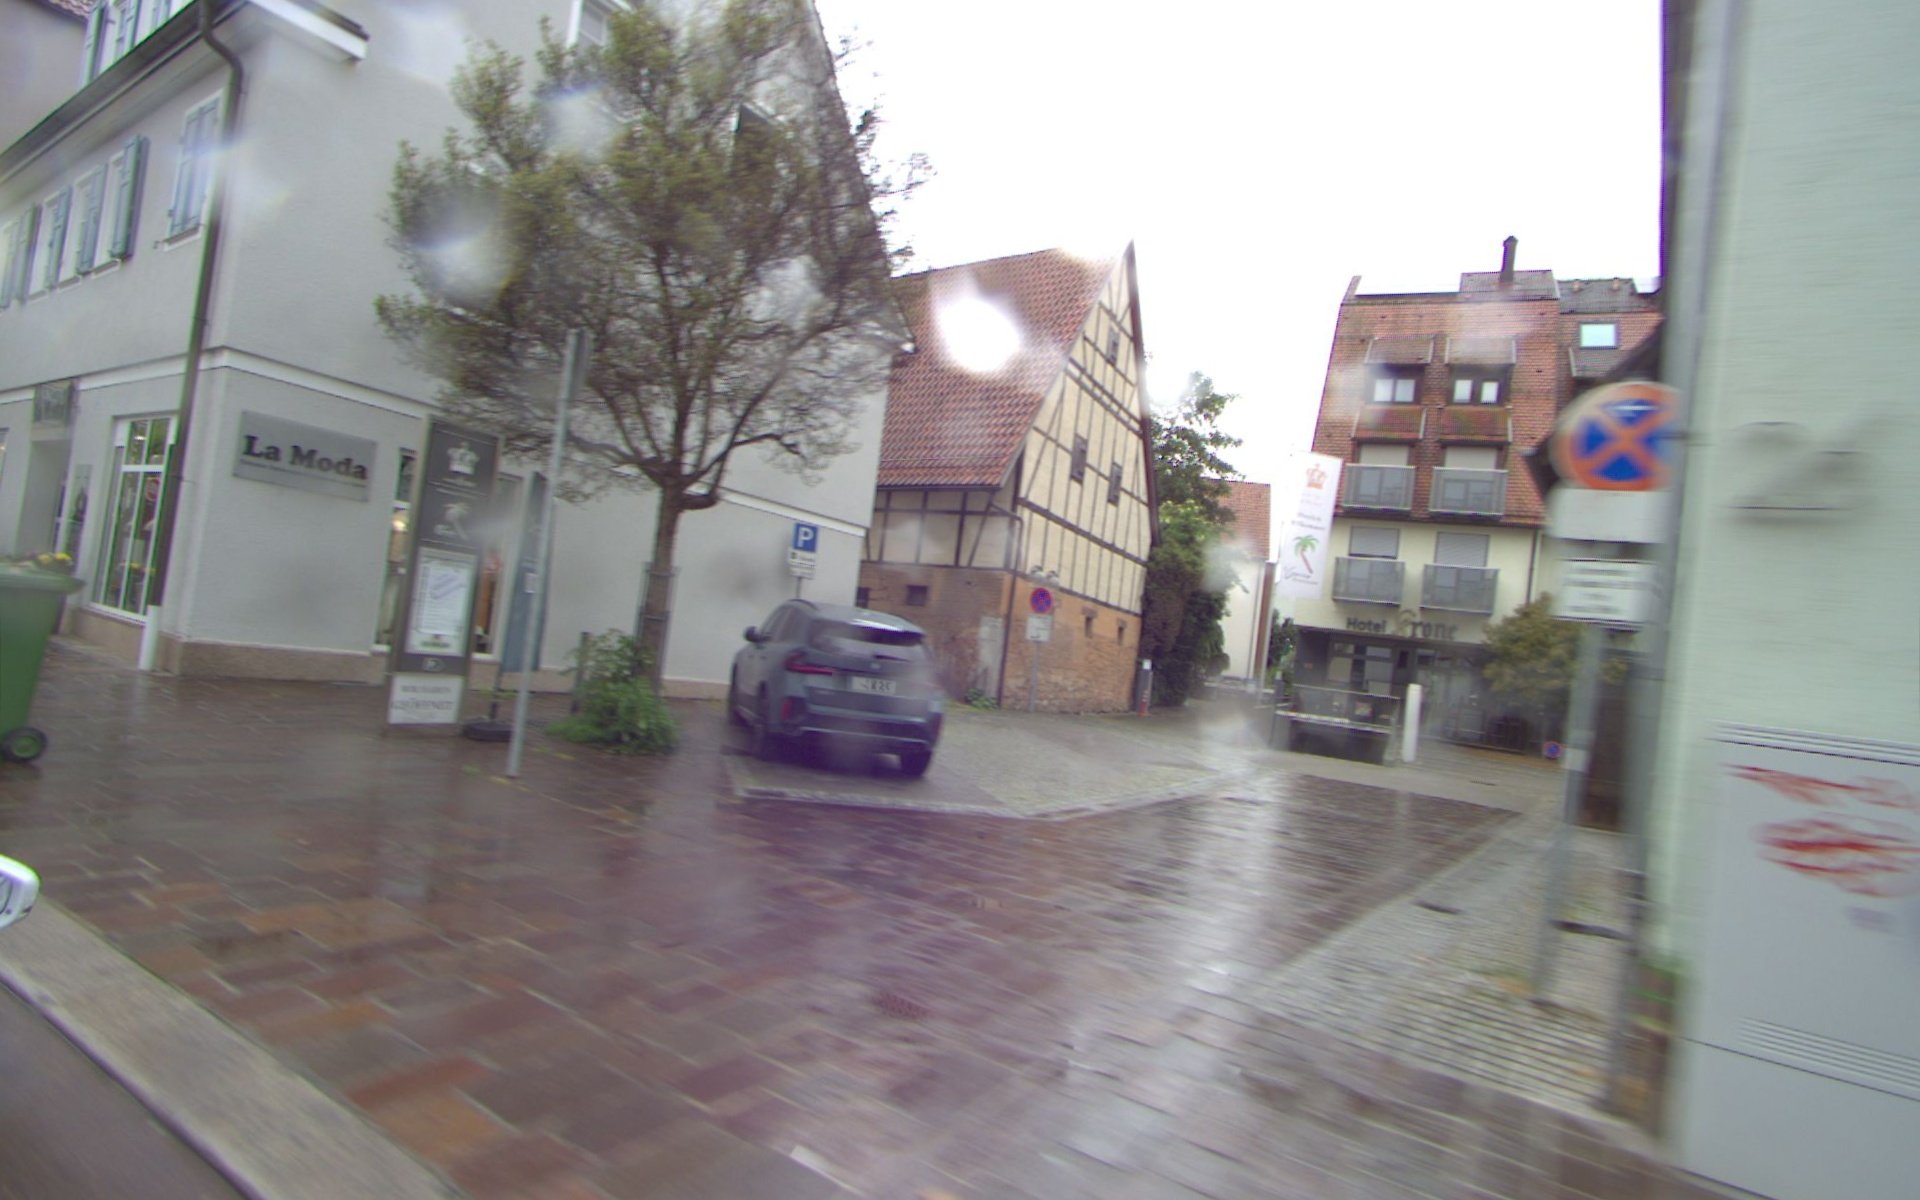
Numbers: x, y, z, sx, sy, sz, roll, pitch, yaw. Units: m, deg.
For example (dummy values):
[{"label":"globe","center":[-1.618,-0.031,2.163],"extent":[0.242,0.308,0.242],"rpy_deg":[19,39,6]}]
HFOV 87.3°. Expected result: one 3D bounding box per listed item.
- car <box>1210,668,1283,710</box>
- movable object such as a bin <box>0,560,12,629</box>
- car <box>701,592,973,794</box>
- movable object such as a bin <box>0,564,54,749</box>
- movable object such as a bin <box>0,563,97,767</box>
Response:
[{"label":"car","center":[17.734,5.553,62.522],"extent":[3.924,2.035,2.005],"rpy_deg":[7,-4,8]},{"label":"movable object such as a bin","center":[-6.481,0.235,6.178],"extent":[0.513,1.102,0.730],"rpy_deg":[5,-4,33]},{"label":"car","center":[-1.612,0.877,11.324],"extent":[1.863,1.618,4.372],"rpy_deg":[9,-2,-21]},{"label":"movable object such as a bin","center":[-5.984,0.289,5.897],"extent":[0.590,1.075,0.756],"rpy_deg":[5,-4,33]},{"label":"movable object such as a bin","center":[-5.451,0.330,5.563],"extent":[0.589,1.091,0.770],"rpy_deg":[5,-4,33]}]
